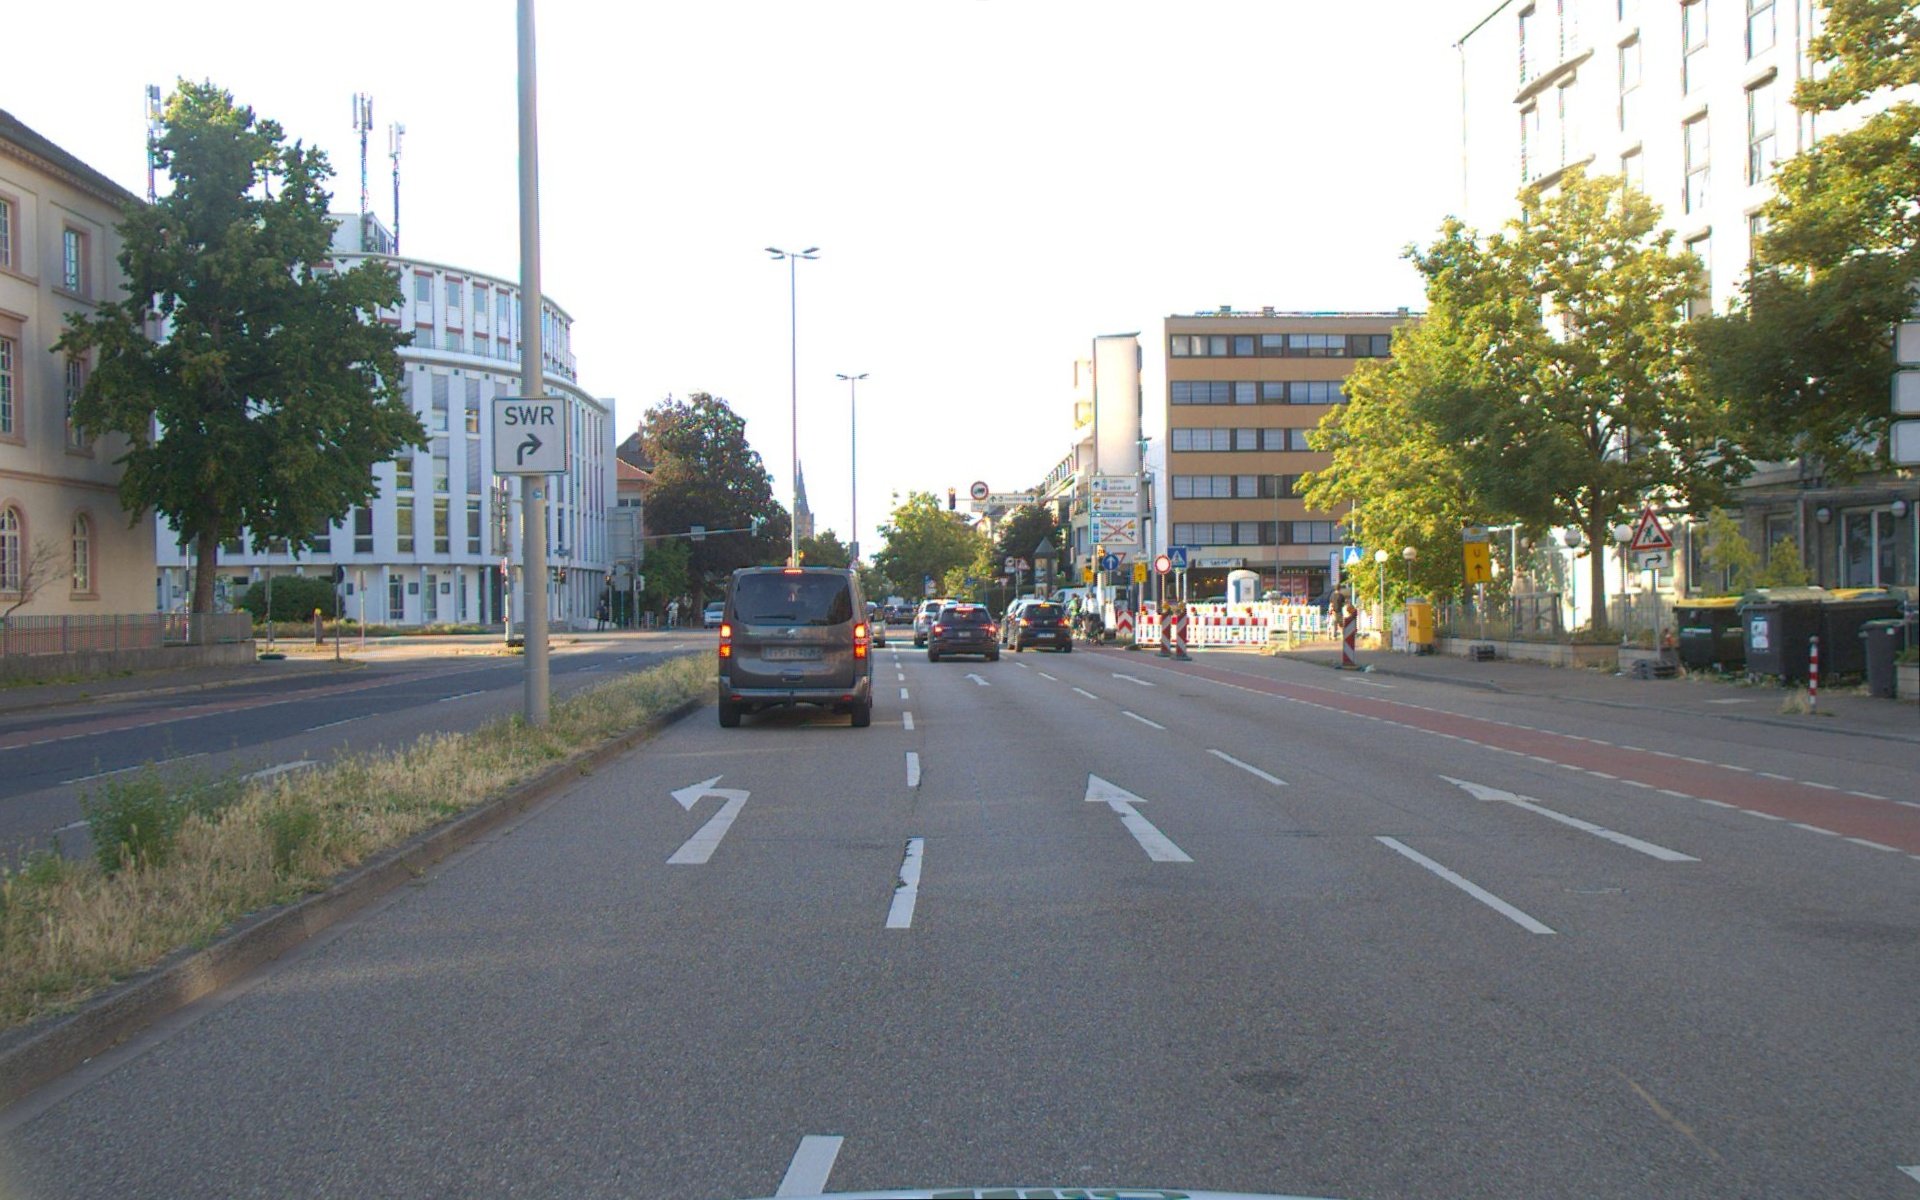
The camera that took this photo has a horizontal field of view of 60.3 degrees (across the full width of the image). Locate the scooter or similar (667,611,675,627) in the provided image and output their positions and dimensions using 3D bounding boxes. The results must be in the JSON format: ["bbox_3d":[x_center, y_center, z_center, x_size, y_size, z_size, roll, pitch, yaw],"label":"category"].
[{"bbox_3d":[-17.179,1.129,98.313,0.350,0.911,0.904,-1,0,-1],"label":"scooter or similar"}]

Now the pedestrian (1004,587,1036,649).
[{"bbox_3d":[1.990,0.599,55.200,0.997,2.049,1.097,0,0,-1],"label":"pedestrian"}]

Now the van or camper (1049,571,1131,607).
[{"bbox_3d":[7.813,-0.673,99.646,4.476,2.049,1.998,-1,0,27],"label":"van or camper"}]

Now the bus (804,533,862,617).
[{"bbox_3d":[-7.495,-1.382,97.454,3.225,4.698,9.990,0,0,-5],"label":"bus"}]

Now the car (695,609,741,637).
[{"bbox_3d":[-14.983,1.433,102.524,1.951,1.623,4.003,-1,0,5],"label":"car"}]

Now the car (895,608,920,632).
[{"bbox_3d":[-3.757,1.429,118.528,1.706,1.614,3.999,-1,0,-1],"label":"car"}]

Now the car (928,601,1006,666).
[{"bbox_3d":[0.210,0.827,42.464,1.807,1.571,3.633,-1,0,3],"label":"car"}]

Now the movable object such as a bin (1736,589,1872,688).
[{"bbox_3d":[13.231,0.586,25.993,1.431,1.479,1.548,-1,0,7],"label":"movable object such as a bin"}]

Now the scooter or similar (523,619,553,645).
[{"bbox_3d":[-15.937,1.208,62.505,1.079,0.994,0.557,0,0,-12],"label":"scooter or similar"}]

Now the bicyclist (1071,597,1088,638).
[{"bbox_3d":[4.415,0.633,60.973,0.530,1.485,0.641,-1,0,-1],"label":"bicyclist"}]

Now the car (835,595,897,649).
[{"bbox_3d":[-3.156,0.710,55.123,1.954,1.685,4.295,-1,0,-4],"label":"car"}]

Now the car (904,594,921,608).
[{"bbox_3d":[-5.946,0.155,204.943,1.813,1.738,3.720,-1,0,-6],"label":"car"}]

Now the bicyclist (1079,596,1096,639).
[{"bbox_3d":[4.494,0.624,58.304,0.530,1.485,0.641,-1,0,-1],"label":"bicyclist"}]

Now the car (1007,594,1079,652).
[{"bbox_3d":[2.495,0.679,50.815,1.953,1.685,4.298,-1,0,0],"label":"car"}]

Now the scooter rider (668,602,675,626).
[{"bbox_3d":[-17.181,0.833,98.405,0.348,1.397,0.337,-1,0,-1],"label":"scooter rider"}]

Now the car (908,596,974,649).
[{"bbox_3d":[-0.671,0.730,55.905,1.954,1.685,4.295,-1,0,-4],"label":"car"}]

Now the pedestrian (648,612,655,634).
[{"bbox_3d":[-18.617,1.389,99.719,0.347,1.313,0.379,-1,0,-1],"label":"pedestrian"}]

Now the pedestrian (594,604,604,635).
[{"bbox_3d":[-19.833,1.074,90.896,0.368,1.689,0.569,-1,0,-1],"label":"pedestrian"}]

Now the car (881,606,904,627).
[{"bbox_3d":[-5.295,1.299,130.544,1.706,1.614,3.999,-1,0,-1],"label":"car"}]

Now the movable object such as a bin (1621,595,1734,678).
[{"bbox_3d":[12.747,0.627,29.436,1.431,1.410,1.548,-1,0,7],"label":"movable object such as a bin"}]

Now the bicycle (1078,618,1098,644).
[{"bbox_3d":[4.509,1.095,58.323,0.522,0.862,1.683,-1,0,-1],"label":"bicycle"}]

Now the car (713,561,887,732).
[{"bbox_3d":[-2.069,0.502,21.267,1.955,1.933,4.294,2,1,-6],"label":"car"}]

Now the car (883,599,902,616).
[{"bbox_3d":[-7.155,0.811,175.526,1.813,1.738,3.720,-1,0,-6],"label":"car"}]

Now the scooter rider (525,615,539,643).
[{"bbox_3d":[-16.157,1.095,62.466,0.500,1.054,0.445,0,0,-13],"label":"scooter rider"}]

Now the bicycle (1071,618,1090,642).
[{"bbox_3d":[4.433,1.101,61.008,0.522,0.862,1.683,-1,0,-1],"label":"bicycle"}]

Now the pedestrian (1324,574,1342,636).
[{"bbox_3d":[12.510,0.174,55.520,0.480,2.049,0.664,-1,0,19],"label":"pedestrian"}]

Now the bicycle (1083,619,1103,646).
[{"bbox_3d":[4.504,1.092,56.088,0.522,0.862,1.683,-1,0,-1],"label":"bicycle"}]

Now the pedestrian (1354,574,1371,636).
[{"bbox_3d":[13.437,0.180,55.199,0.480,2.049,0.664,-1,0,19],"label":"pedestrian"}]

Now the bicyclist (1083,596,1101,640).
[{"bbox_3d":[4.489,0.617,56.157,0.530,1.485,0.641,-1,0,-1],"label":"bicyclist"}]
